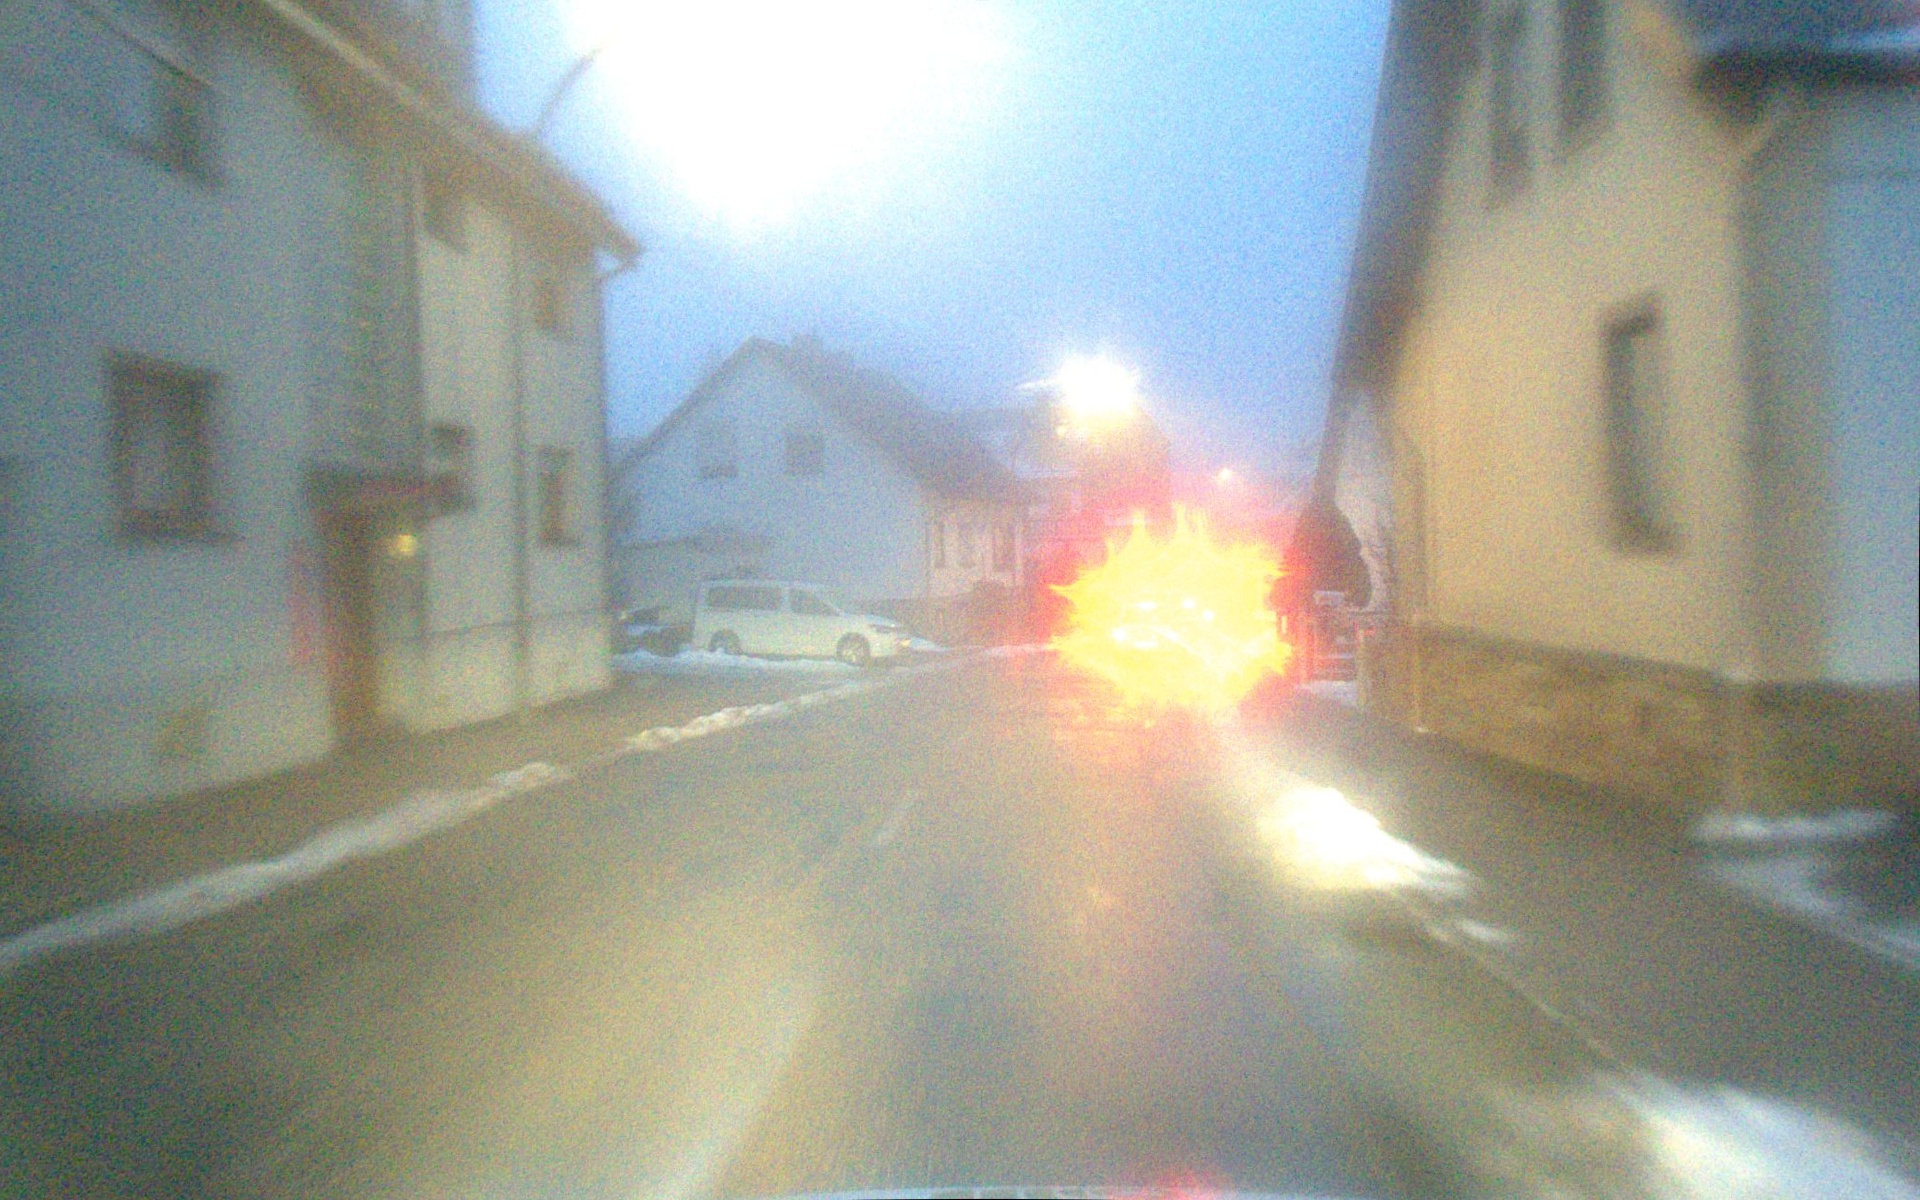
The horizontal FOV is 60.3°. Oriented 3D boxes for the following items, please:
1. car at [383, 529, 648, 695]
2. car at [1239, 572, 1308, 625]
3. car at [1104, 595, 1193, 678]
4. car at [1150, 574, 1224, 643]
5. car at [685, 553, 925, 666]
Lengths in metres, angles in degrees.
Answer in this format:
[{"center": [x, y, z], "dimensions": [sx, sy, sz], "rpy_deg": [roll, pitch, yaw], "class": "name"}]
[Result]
[{"center": [-7.316, 0.127, 27.433], "dimensions": [3.923, 2.316, 1.992], "rpy_deg": [-5, 3, -15], "class": "car"}, {"center": [12.829, -0.081, 67.439], "dimensions": [2.203, 1.667, 4.855], "rpy_deg": [-3, 4, 16], "class": "car"}, {"center": [4.596, 0.839, 39.986], "dimensions": [1.951, 1.533, 4.005], "rpy_deg": [-3, 3, 8], "class": "car"}, {"center": [7.554, 0.243, 54.712], "dimensions": [1.951, 1.869, 4.005], "rpy_deg": [-3, 4, 14], "class": "car"}, {"center": [-3.323, 0.194, 35.774], "dimensions": [4.632, 2.048, 2.002], "rpy_deg": [-3, 3, 16], "class": "car"}]
